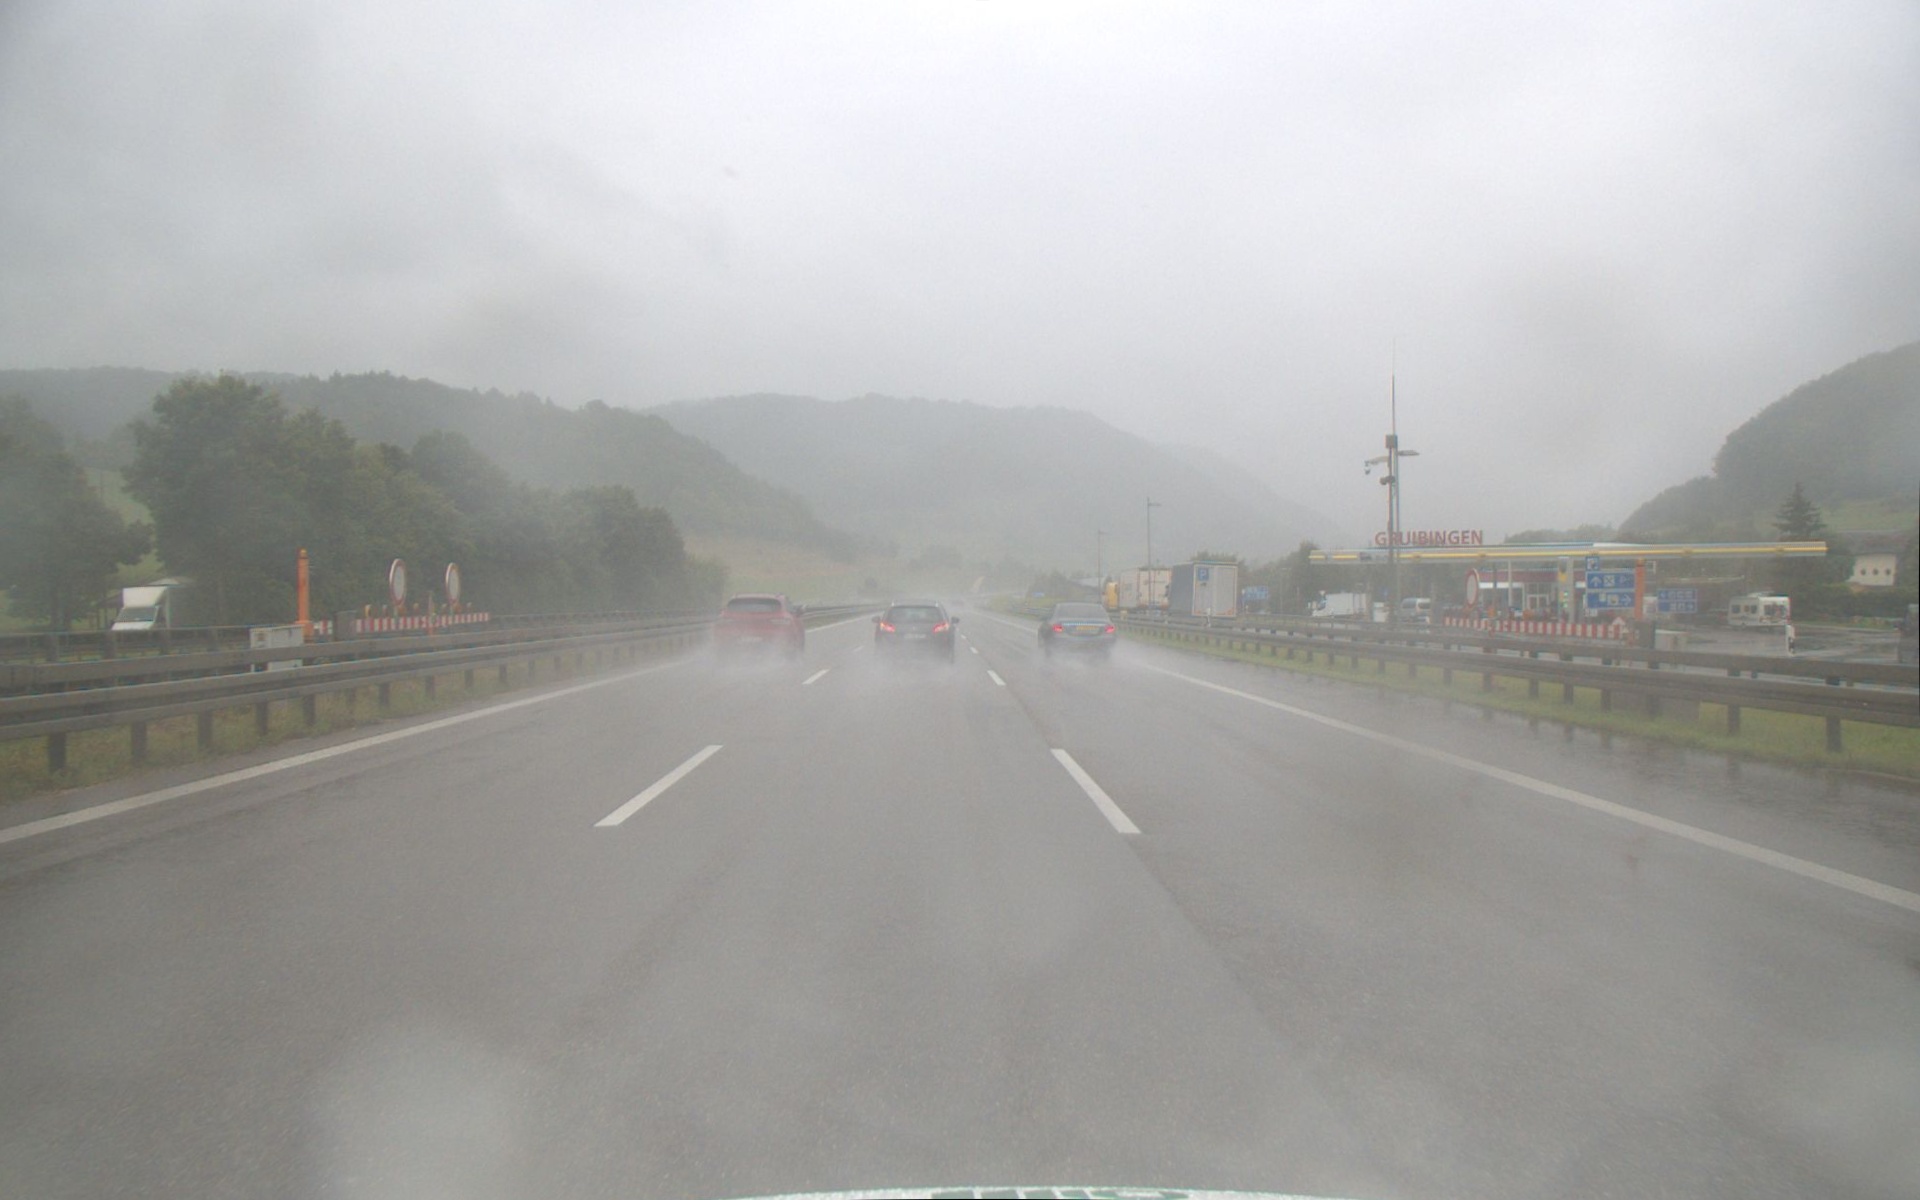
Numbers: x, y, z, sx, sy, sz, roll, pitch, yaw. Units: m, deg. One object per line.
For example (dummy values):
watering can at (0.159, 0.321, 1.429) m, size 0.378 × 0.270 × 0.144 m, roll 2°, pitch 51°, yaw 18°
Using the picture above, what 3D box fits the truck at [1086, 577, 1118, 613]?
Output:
truck at (12.975, -0.433, 151.486) m, size 2.244 × 3.202 × 8.864 m, roll 1°, pitch 0°, yaw 1°

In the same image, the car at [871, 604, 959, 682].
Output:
car at (-0.962, 0.915, 36.859) m, size 1.821 × 1.617 × 3.999 m, roll 1°, pitch 0°, yaw -1°

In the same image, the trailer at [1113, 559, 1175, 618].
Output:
trailer at (14.243, -0.834, 128.988) m, size 3.444 × 4.336 × 11.919 m, roll 1°, pitch 0°, yaw 0°

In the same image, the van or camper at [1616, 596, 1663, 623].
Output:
van or camper at (52.611, 0.737, 128.116) m, size 1.953 × 2.049 × 3.999 m, roll 1°, pitch 0°, yaw -1°

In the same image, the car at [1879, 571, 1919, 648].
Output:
car at (27.037, 0.264, 45.569) m, size 1.951 × 2.049 × 5.057 m, roll 0°, pitch 0°, yaw 17°

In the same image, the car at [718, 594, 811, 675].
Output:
car at (-4.656, 0.787, 39.806) m, size 1.846 × 1.847 × 3.999 m, roll 0°, pitch 0°, yaw -1°

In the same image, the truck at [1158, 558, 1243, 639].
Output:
truck at (14.285, -0.089, 99.049) m, size 3.332 × 4.479 × 11.048 m, roll 1°, pitch 0°, yaw 0°

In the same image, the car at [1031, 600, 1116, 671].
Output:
car at (2.932, 0.894, 43.503) m, size 1.931 × 1.791 × 3.999 m, roll 0°, pitch 0°, yaw -1°

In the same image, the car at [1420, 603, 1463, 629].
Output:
car at (39.669, 1.336, 136.398) m, size 1.953 × 2.049 × 4.900 m, roll 1°, pitch 0°, yaw -1°

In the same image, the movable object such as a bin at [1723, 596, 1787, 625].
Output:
movable object such as a bin at (60.052, 0.795, 125.074) m, size 2.122 × 2.049 × 5.381 m, roll 1°, pitch 0°, yaw -1°

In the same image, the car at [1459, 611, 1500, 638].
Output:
car at (40.502, 1.874, 129.034) m, size 1.920 × 2.049 × 3.999 m, roll 1°, pitch 0°, yaw -1°
